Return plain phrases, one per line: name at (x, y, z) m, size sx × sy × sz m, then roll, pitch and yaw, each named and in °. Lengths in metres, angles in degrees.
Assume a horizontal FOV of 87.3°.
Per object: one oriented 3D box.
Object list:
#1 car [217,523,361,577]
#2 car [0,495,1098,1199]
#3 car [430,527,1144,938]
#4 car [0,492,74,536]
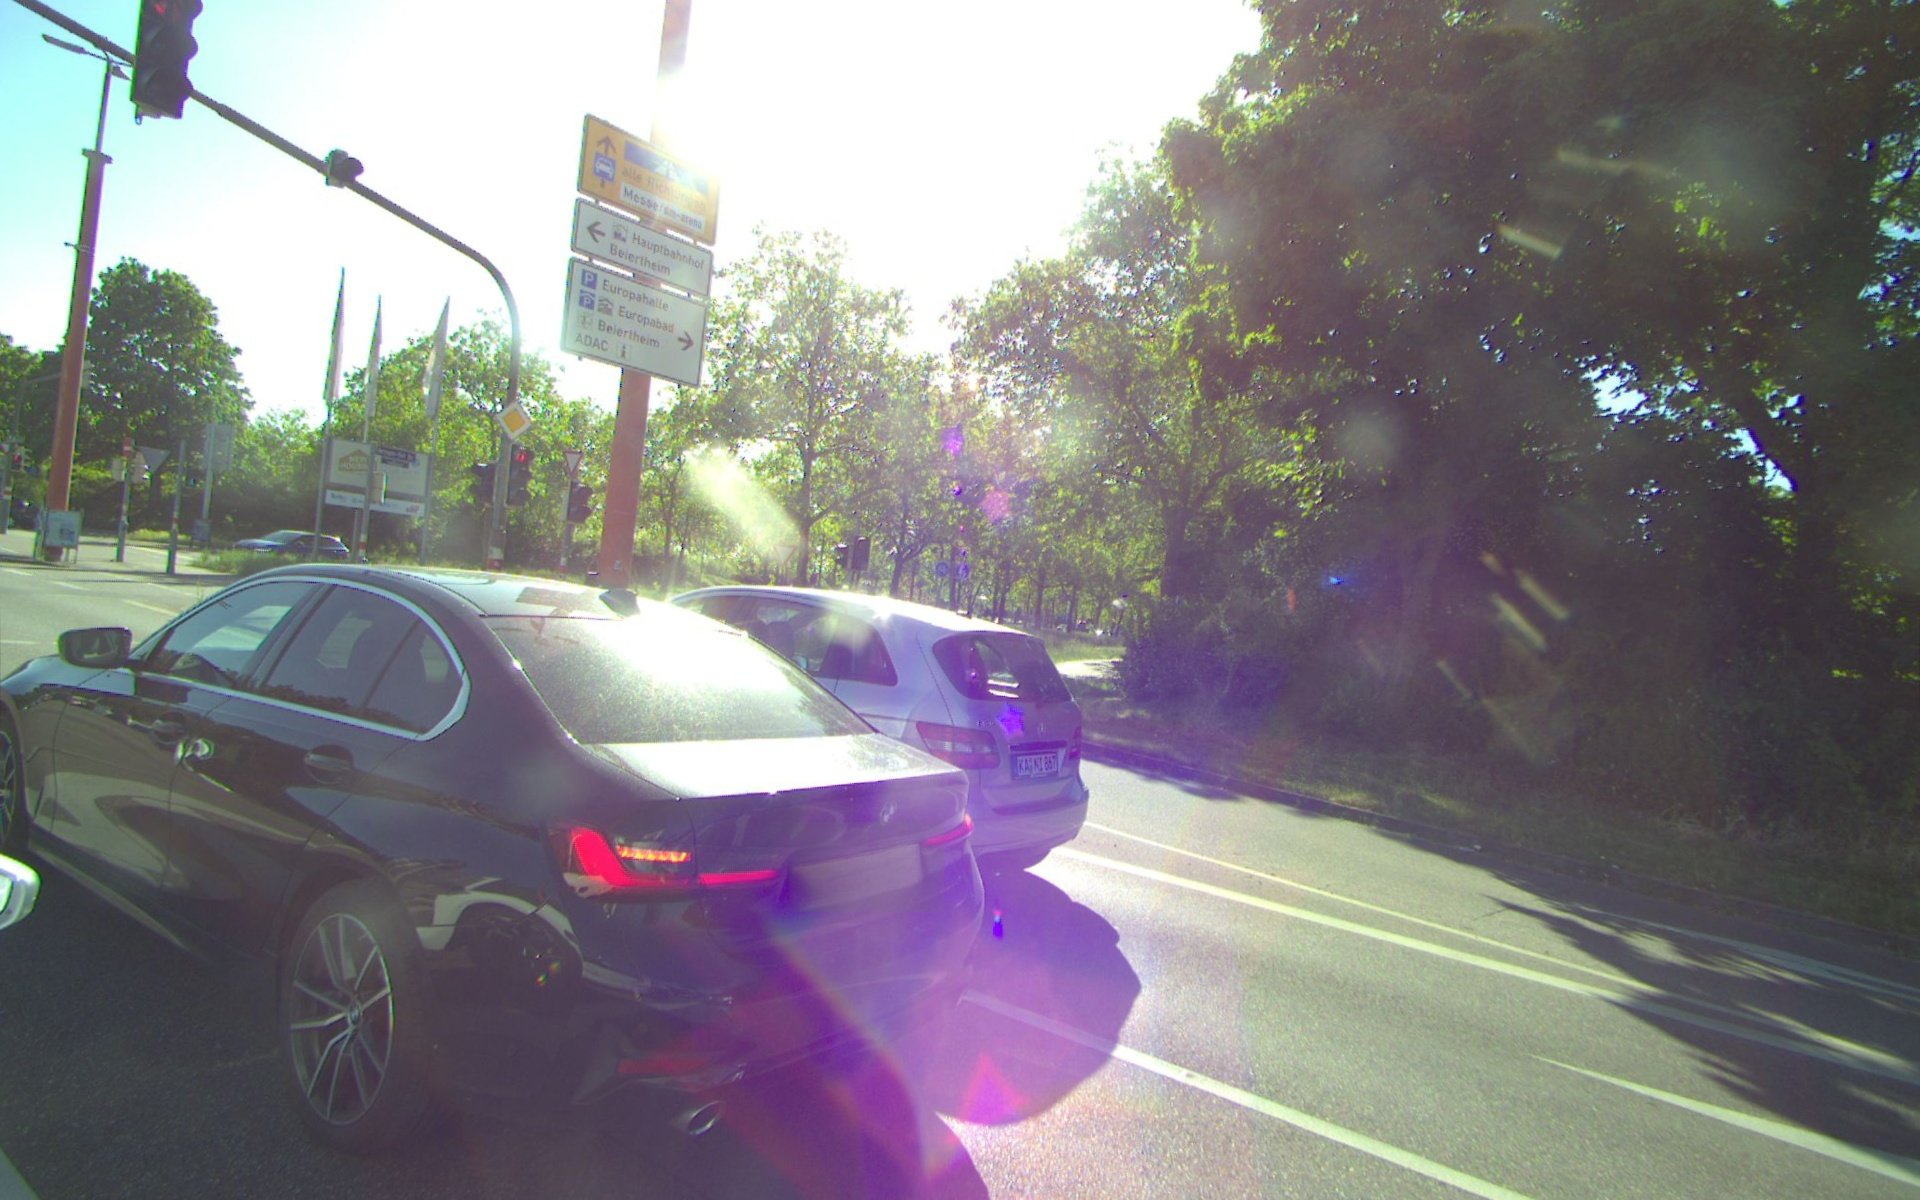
car at (-25.118, -1.821, 37.858) m, size 1.848 × 1.445 × 4.283 m, roll 7°, pitch -1°, yaw 14°
car at (-1.960, 0.526, 3.883) m, size 4.403 × 1.411 × 1.996 m, roll 7°, pitch 0°, yaw 32°
car at (-1.282, 0.637, 6.791) m, size 4.403 × 1.706 × 1.970 m, roll 7°, pitch -1°, yaw 32°
car at (-42.316, -3.969, 44.410) m, size 4.227 × 1.592 × 2.153 m, roll 7°, pitch 0°, yaw -25°
